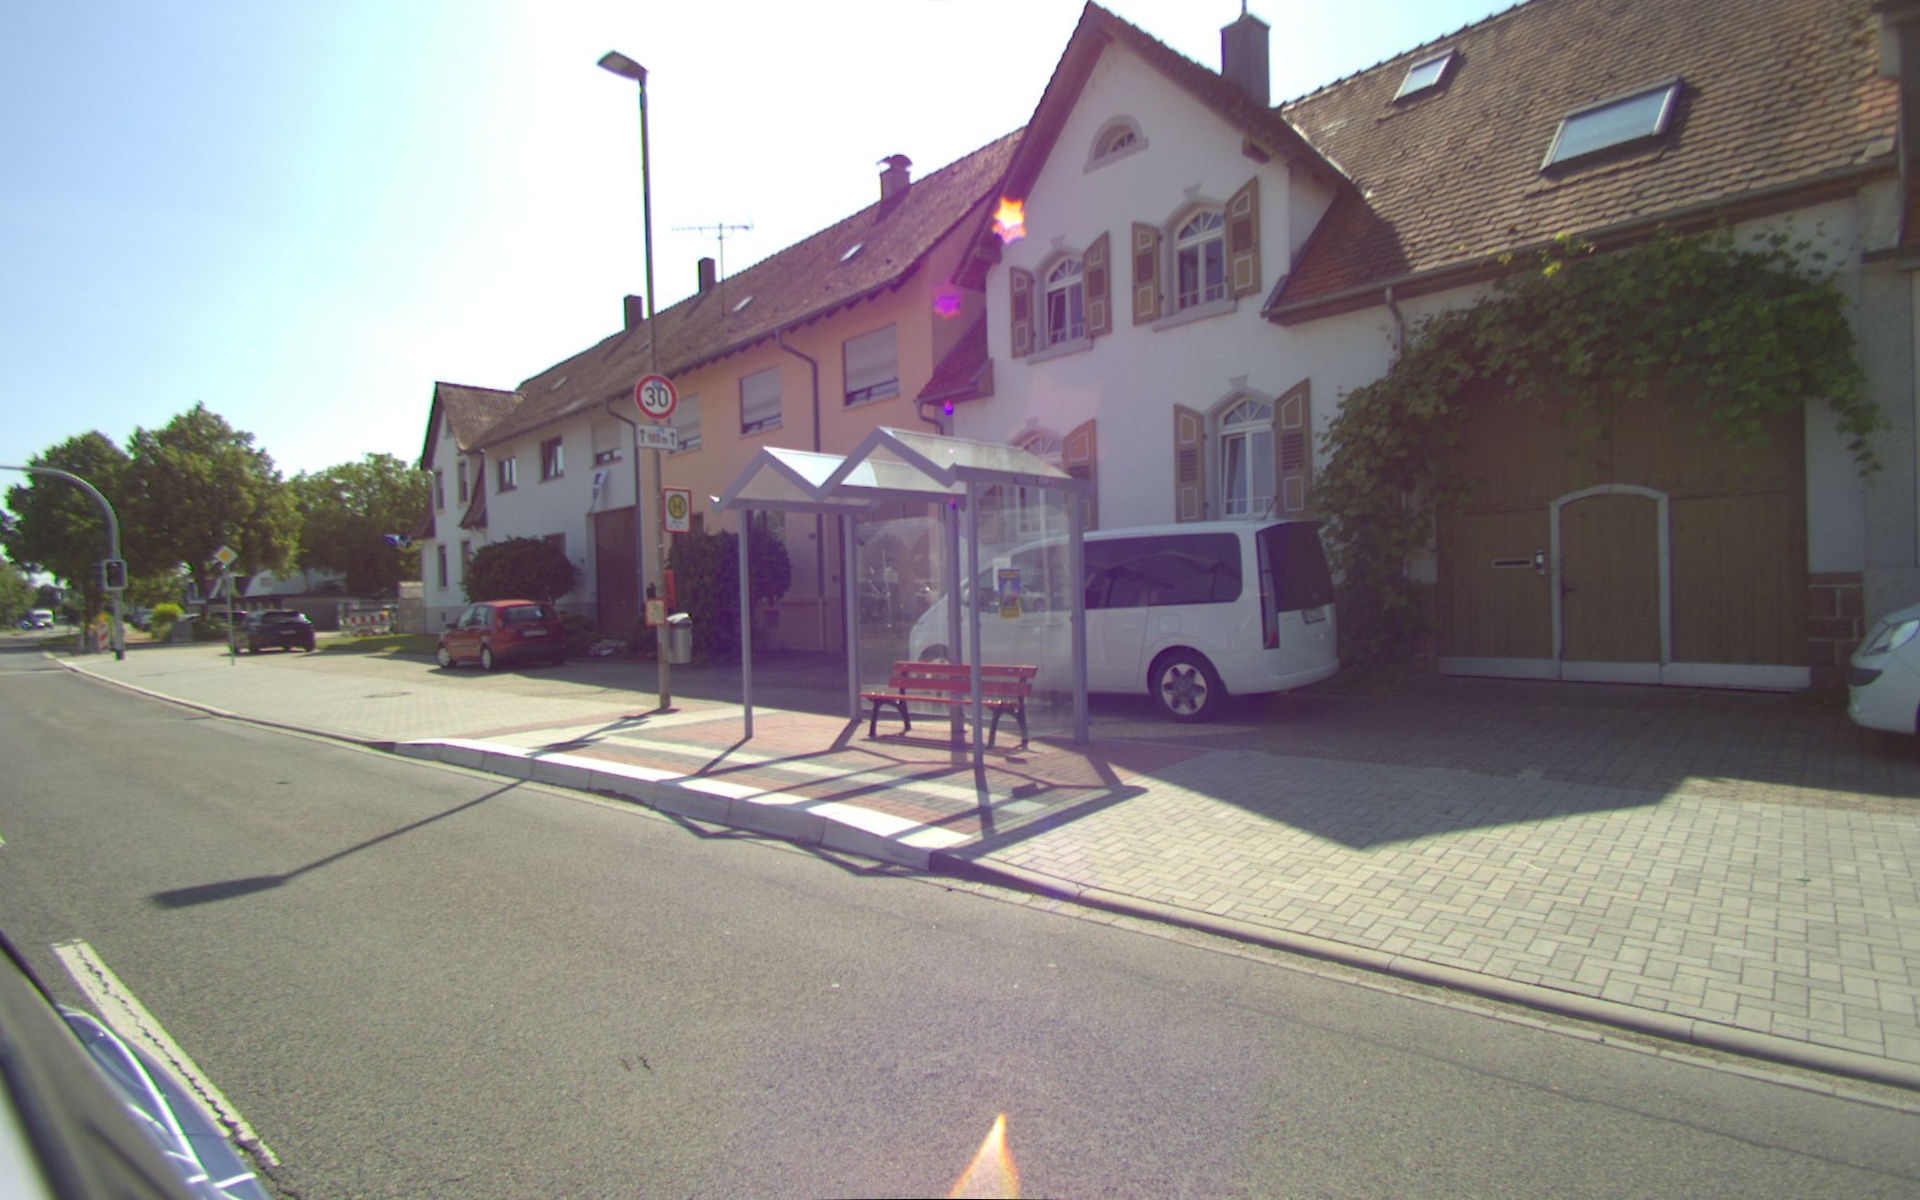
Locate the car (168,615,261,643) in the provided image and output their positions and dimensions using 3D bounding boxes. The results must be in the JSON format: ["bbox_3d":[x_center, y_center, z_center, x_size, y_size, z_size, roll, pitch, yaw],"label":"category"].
[{"bbox_3d":[-44.002,1.673,59.797,3.933,1.516,2.005,-1,0,-13],"label":"car"}]

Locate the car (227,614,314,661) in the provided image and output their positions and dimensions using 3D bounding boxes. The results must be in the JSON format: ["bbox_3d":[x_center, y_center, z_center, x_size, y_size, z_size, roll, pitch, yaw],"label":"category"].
[{"bbox_3d":[-23.496,1.212,34.424,1.695,1.418,4.401,0,0,-45],"label":"car"}]

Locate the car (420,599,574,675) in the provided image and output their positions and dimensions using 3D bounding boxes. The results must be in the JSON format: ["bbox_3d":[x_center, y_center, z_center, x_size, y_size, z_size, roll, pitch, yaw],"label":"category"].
[{"bbox_3d":[-10.269,0.821,22.337,3.915,1.464,1.696,-3,0,43],"label":"car"}]

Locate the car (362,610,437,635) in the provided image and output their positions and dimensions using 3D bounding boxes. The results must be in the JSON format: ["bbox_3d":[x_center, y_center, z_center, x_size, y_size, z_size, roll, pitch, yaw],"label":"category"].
[{"bbox_3d":[-37.150,1.491,67.177,2.000,1.516,3.943,-2,0,43],"label":"car"}]

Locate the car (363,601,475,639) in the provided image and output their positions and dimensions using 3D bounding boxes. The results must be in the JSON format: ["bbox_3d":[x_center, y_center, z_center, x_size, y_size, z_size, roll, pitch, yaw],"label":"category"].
[{"bbox_3d":[-32.091,1.170,60.176,2.000,2.060,5.550,-2,0,42],"label":"car"}]

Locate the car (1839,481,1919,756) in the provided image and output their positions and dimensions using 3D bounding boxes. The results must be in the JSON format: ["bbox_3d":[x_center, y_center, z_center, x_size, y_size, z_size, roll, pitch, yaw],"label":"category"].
[{"bbox_3d":[8.125,0.083,5.959,1.945,1.787,4.281,-2,1,-43],"label":"car"}]

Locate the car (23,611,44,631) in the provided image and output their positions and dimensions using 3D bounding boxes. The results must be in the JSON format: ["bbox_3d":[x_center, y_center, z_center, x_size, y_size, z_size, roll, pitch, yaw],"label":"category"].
[{"bbox_3d":[-120.831,2.687,131.952,1.910,2.521,5.845,-1,0,-42],"label":"car"}]

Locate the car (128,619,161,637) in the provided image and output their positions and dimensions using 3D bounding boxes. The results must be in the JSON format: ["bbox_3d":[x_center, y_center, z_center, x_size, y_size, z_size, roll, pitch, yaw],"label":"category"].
[{"bbox_3d":[-71.912,2.465,89.202,1.970,1.516,4.004,-1,0,-43],"label":"car"}]

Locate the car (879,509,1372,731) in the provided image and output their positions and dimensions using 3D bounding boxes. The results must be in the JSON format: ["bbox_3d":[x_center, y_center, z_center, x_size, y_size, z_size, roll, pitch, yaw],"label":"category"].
[{"bbox_3d":[1.674,0.167,11.617,5.263,2.001,2.104,-1,1,41],"label":"car"}]
